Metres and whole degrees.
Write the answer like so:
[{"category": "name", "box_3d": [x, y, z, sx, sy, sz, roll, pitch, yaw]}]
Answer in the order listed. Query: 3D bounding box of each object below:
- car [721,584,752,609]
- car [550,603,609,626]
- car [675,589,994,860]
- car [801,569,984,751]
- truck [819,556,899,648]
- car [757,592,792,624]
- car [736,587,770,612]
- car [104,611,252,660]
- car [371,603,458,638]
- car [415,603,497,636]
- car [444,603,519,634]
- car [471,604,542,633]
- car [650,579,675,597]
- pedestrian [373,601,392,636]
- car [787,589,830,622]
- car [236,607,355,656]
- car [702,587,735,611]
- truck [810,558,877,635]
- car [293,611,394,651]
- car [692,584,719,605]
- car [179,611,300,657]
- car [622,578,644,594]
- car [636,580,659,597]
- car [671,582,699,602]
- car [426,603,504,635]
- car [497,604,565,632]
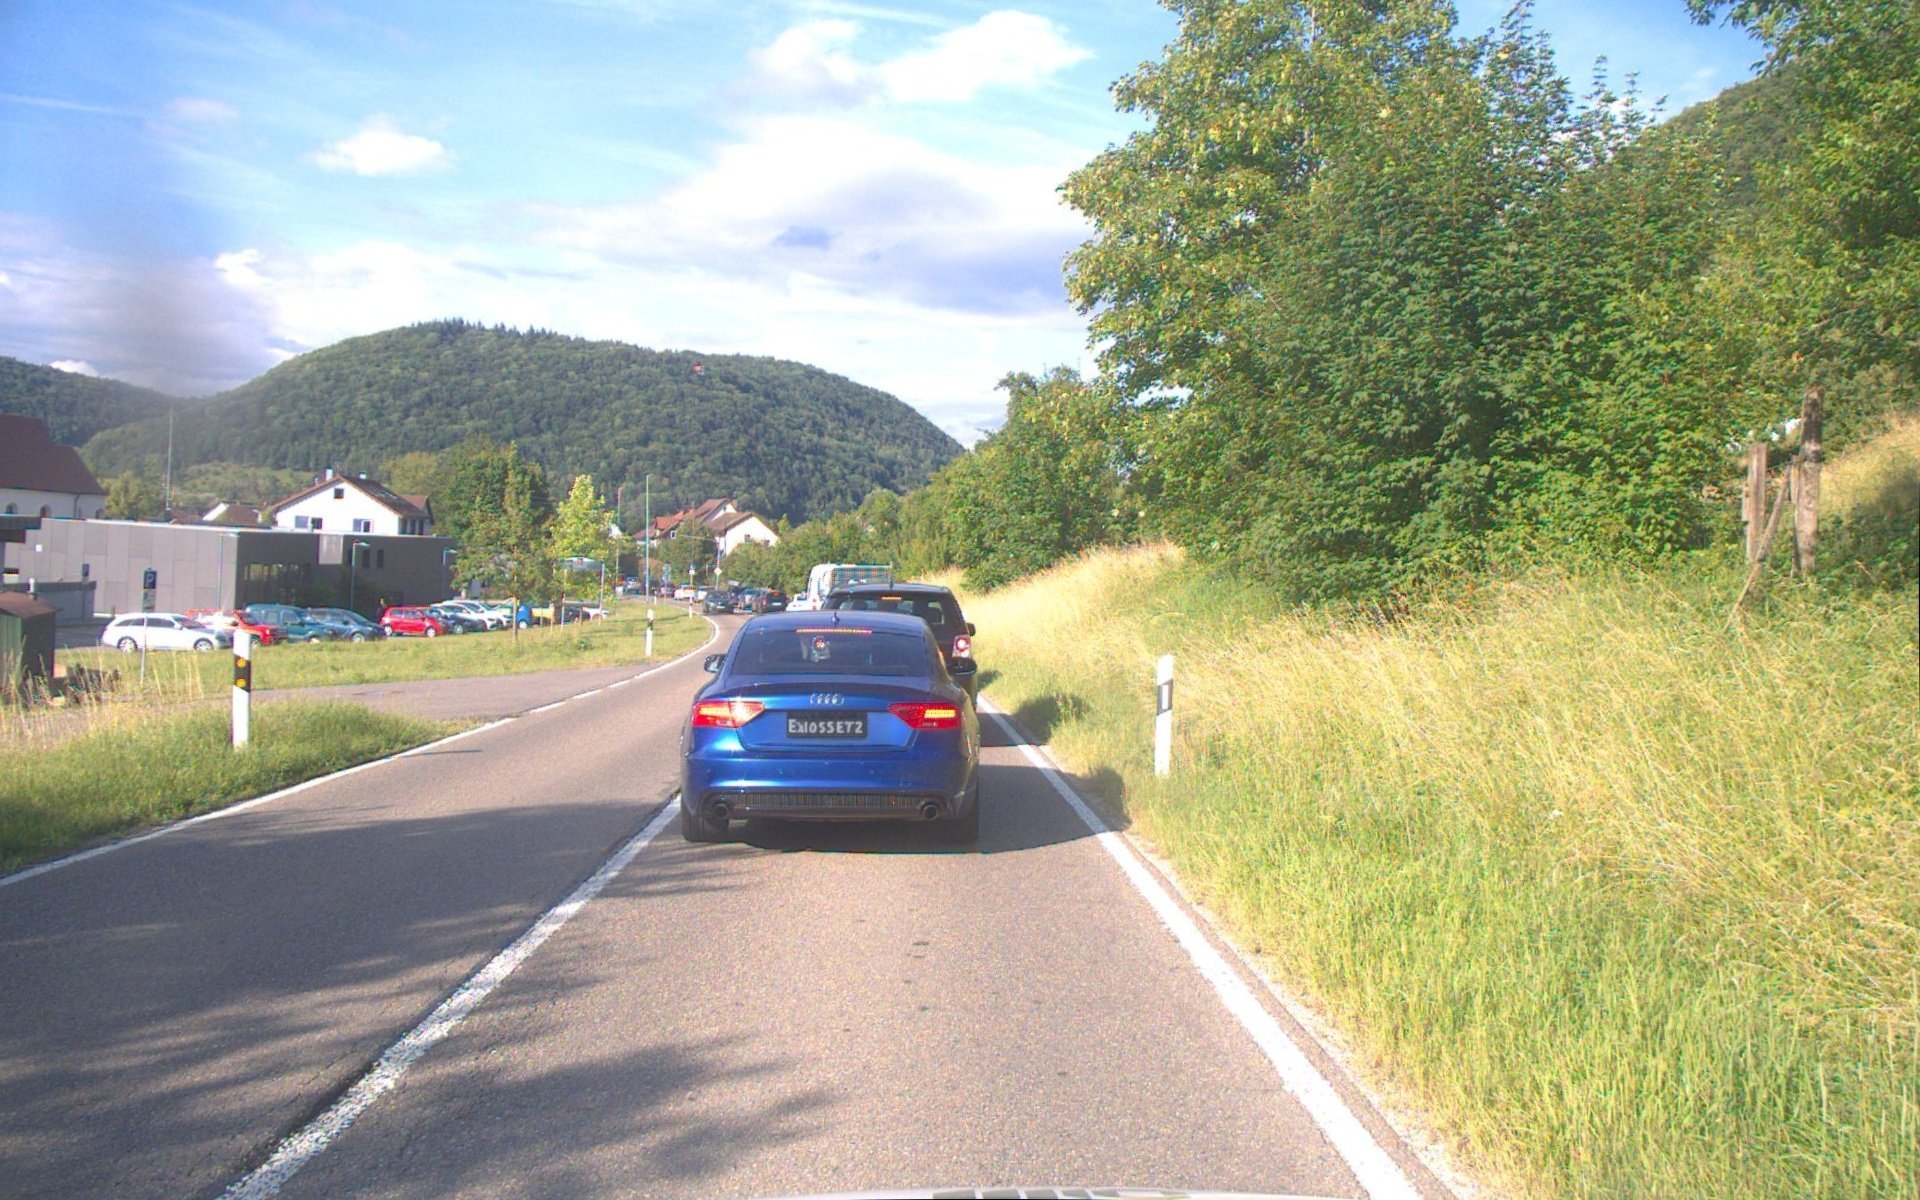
[{"category": "car", "box_3d": [-16.711, -0.256, 123.570, 1.815, 1.742, 3.984, 1, 0, -15]}, {"category": "car", "box_3d": [-27.801, 1.063, 120.941, 3.908, 1.606, 1.751, 1, 0, -4]}, {"category": "car", "box_3d": [-0.708, 0.690, 10.958, 1.718, 1.455, 3.845, 1, 0, -1]}, {"category": "car", "box_3d": [-0.673, 0.582, 17.741, 1.718, 1.710, 3.845, 1, 0, -1]}, {"category": "truck", "box_3d": [-3.144, 0.066, 50.400, 2.187, 2.615, 6.096, 1, 0, -5]}, {"category": "car", "box_3d": [-10.519, 0.447, 93.557, 1.811, 1.742, 3.992, 1, 0, -9]}, {"category": "car", "box_3d": [-14.528, -0.028, 116.043, 1.815, 1.742, 3.983, 1, 0, -15]}, {"category": "car", "box_3d": [-29.726, 1.332, 62.992, 4.637, 1.741, 1.998, 1, 0, -4]}, {"category": "car", "box_3d": [-28.502, 1.045, 86.585, 3.908, 1.741, 1.998, 1, 0, -4]}, {"category": "car", "box_3d": [-27.759, 1.080, 91.185, 3.908, 1.741, 1.998, 1, 0, -4]}, {"category": "car", "box_3d": [-28.341, 1.105, 98.108, 3.908, 1.741, 1.998, 1, 0, -4]}, {"category": "car", "box_3d": [-28.461, 1.132, 103.892, 3.908, 1.741, 1.998, 1, 0, -4]}, {"category": "car", "box_3d": [-30.017, -1.220, 166.771, 1.818, 1.742, 3.977, 1, 0, -19]}, {"category": "pedestrian", "box_3d": [-34.390, 1.089, 98.526, 0.808, 2.049, 0.973, 1, -1, -2]}, {"category": "car", "box_3d": [-7.312, 0.259, 79.427, 1.811, 1.508, 3.992, 1, 0, -9]}, {"category": "car", "box_3d": [-28.714, 1.345, 71.623, 4.319, 2.043, 1.998, 1, 0, -4]}, {"category": "car", "box_3d": [-15.000, -0.052, 102.663, 1.675, 1.455, 4.036, 1, 0, -14]}, {"category": "truck", "box_3d": [-4.319, -0.093, 60.357, 2.187, 2.615, 6.699, 1, 0, -6]}, {"category": "car", "box_3d": [-28.229, 1.421, 75.855, 3.908, 1.741, 1.998, 1, 0, -4]}, {"category": "car", "box_3d": [-21.658, -0.423, 140.650, 1.815, 1.742, 3.983, 1, 0, -15]}, {"category": "car", "box_3d": [-28.711, 1.364, 65.990, 3.908, 1.741, 1.998, 1, 0, -4]}, {"category": "car", "box_3d": [-37.154, -1.553, 187.801, 1.818, 1.742, 3.977, 1, 0, -19]}, {"category": "car", "box_3d": [-33.538, -1.255, 177.348, 1.818, 1.742, 3.977, 1, 0, -19]}, {"category": "car", "box_3d": [-25.400, -0.747, 152.620, 1.818, 1.742, 3.977, 1, 0, -19]}, {"category": "car", "box_3d": [-28.339, 1.089, 94.823, 3.908, 1.741, 1.998, 1, 0, -4]}, {"category": "car", "box_3d": [-27.604, 1.159, 106.577, 3.908, 1.741, 1.998, 1, 0, -4]}]
